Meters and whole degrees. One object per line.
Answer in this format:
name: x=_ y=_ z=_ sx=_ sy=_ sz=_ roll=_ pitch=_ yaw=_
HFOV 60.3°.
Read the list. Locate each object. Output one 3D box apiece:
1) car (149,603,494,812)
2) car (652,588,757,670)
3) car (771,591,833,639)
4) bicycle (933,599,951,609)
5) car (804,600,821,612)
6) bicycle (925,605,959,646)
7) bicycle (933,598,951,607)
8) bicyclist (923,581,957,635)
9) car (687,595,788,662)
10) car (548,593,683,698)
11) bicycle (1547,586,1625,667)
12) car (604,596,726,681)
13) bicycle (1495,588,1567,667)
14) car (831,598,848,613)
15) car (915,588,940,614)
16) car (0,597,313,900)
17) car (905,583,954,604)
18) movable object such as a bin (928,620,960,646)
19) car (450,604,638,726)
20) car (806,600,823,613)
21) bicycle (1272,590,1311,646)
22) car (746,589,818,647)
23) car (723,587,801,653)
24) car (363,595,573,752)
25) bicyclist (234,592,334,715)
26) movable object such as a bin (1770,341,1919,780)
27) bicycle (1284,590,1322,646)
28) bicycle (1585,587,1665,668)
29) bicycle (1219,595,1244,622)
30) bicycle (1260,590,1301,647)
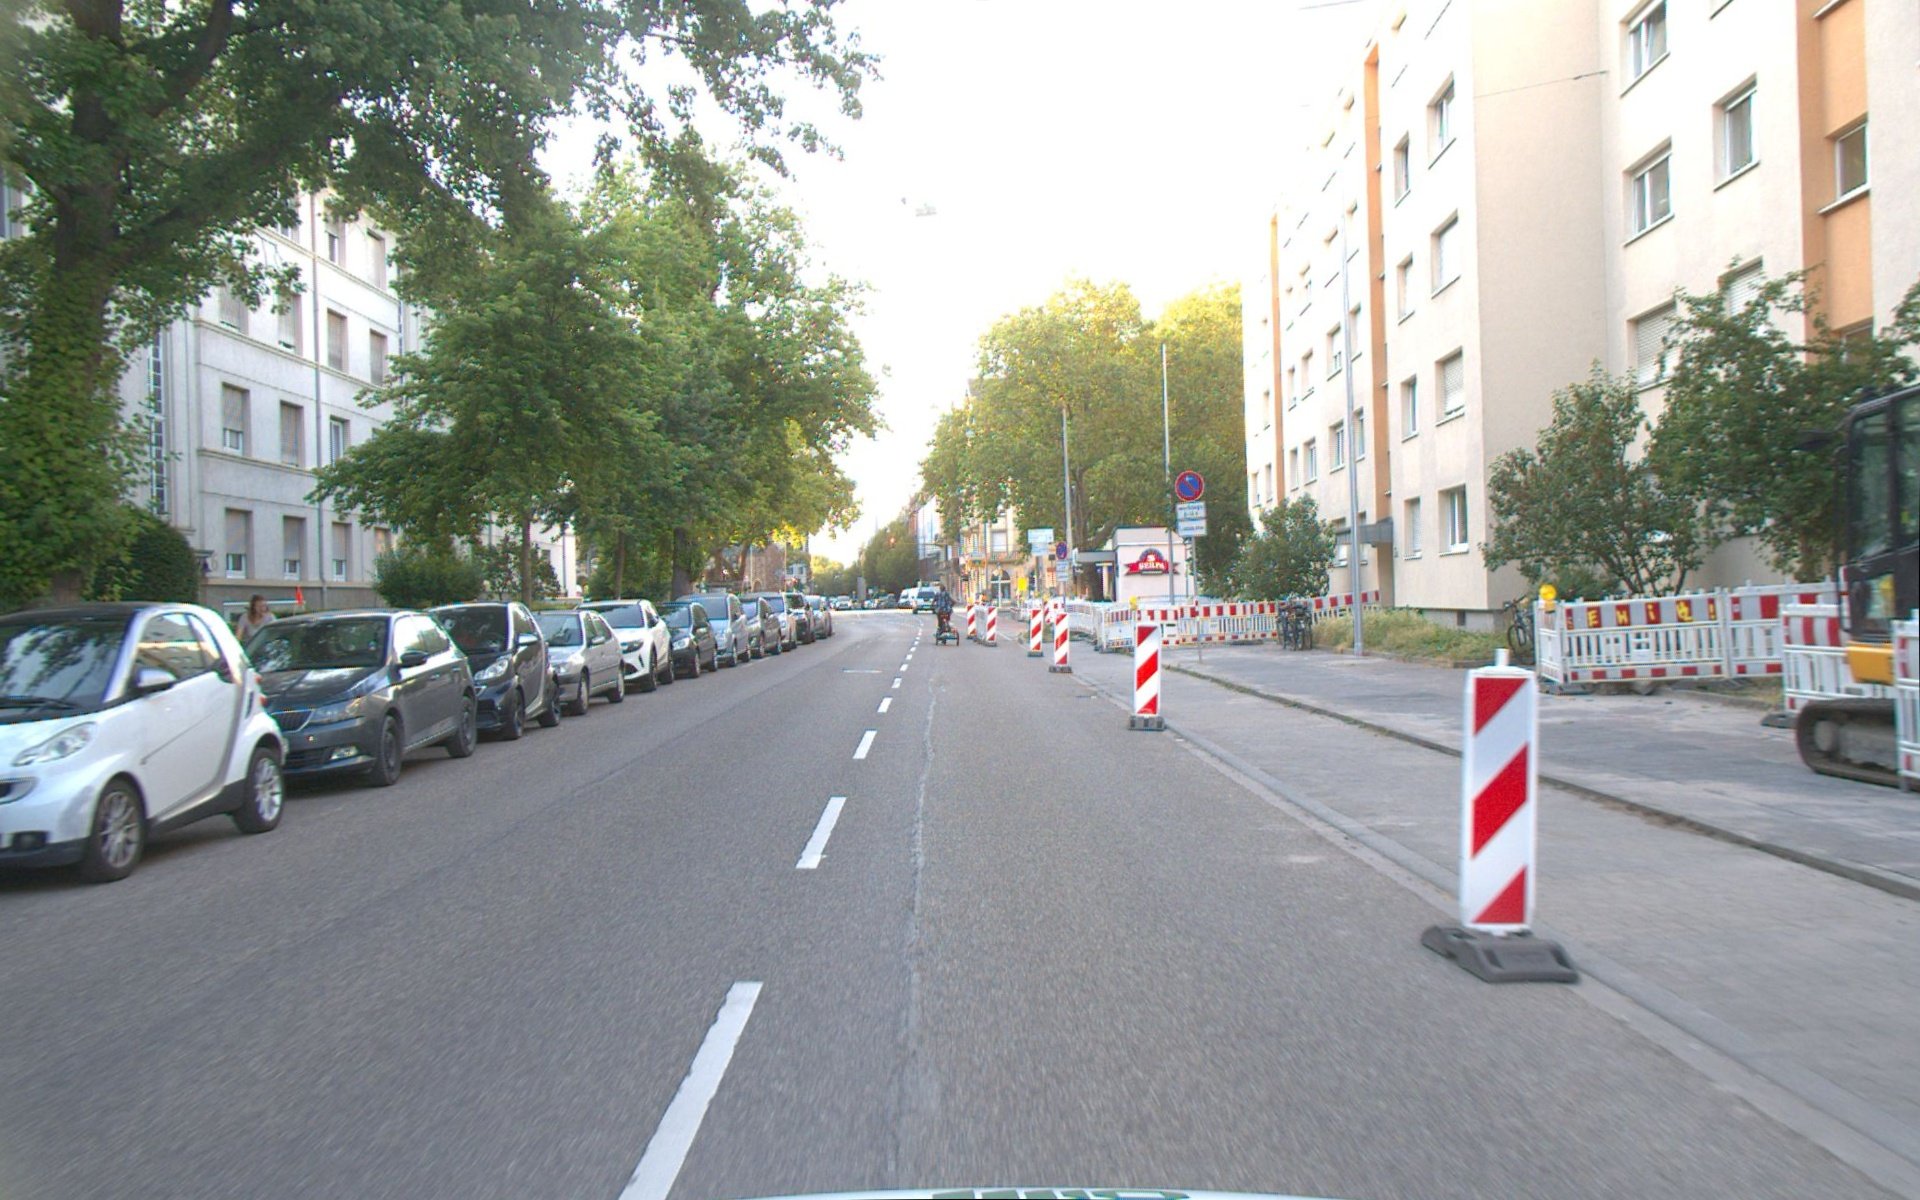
car: x=-5.514 y=0.831 z=14.847 sx=1.559 sy=1.491 sz=4.100 roll=-5 pitch=0 yaw=-3
car: x=-5.719 y=0.623 z=37.485 sx=1.673 sy=1.628 sz=4.116 roll=-4 pitch=0 yaw=-1
car: x=-5.967 y=0.539 z=62.841 sx=1.914 sy=1.645 sz=4.604 roll=-3 pitch=0 yaw=-1
bicycle: x=-1.980 y=0.423 z=182.975 sx=1.876 sy=0.985 sz=0.545 roll=-1 pitch=0 yaw=-3
car: x=-19.883 y=0.833 z=222.838 sx=1.956 sy=1.680 sz=3.813 roll=0 pitch=0 yaw=-9
bicycle: x=-0.586 y=0.781 z=52.044 sx=0.920 sy=1.192 sz=2.357 roll=-4 pitch=0 yaw=-3
bicycle: x=-2.004 y=0.305 z=182.695 sx=1.876 sy=0.985 sz=0.545 roll=-1 pitch=0 yaw=-3
bicyclist: x=-0.623 y=0.249 z=52.068 sx=0.920 sy=1.609 sz=1.145 roll=-4 pitch=0 yaw=-3
car: x=-5.625 y=0.686 z=42.292 sx=1.696 sy=1.523 sz=4.272 roll=-3 pitch=0 yaw=3
car: x=-5.889 y=0.739 z=28.670 sx=1.559 sy=1.565 sz=4.204 roll=-4 pitch=0 yaw=-3
bicycle: x=9.691 y=0.394 z=25.659 sx=0.544 sy=1.192 sz=1.817 roll=-1 pitch=0 yaw=2
car: x=-5.823 y=0.725 z=33.066 sx=1.673 sy=1.477 sz=3.842 roll=-5 pitch=0 yaw=0
bicycle: x=8.974 y=0.413 z=26.043 sx=0.544 sy=1.192 sz=1.817 roll=-1 pitch=0 yaw=2
car: x=-14.091 y=0.620 z=193.458 sx=1.748 sy=1.680 sz=3.813 roll=0 pitch=0 yaw=-9
car: x=-2.510 y=0.062 z=126.994 sx=1.829 sy=1.846 sz=3.998 roll=-2 pitch=0 yaw=-2
car: x=-5.408 y=0.824 z=10.158 sx=1.557 sy=1.555 sz=2.922 roll=-4 pitch=0 yaw=1
car: x=-3.521 y=-0.742 z=189.185 sx=5.779 sy=2.328 sz=2.039 roll=-2 pitch=0 yaw=-44
movable object such as a bin: x=-0.494 y=1.006 z=50.365 sx=0.920 sy=0.701 sz=0.993 roll=-4 pitch=0 yaw=-3
car: x=-5.761 y=0.841 z=23.383 sx=1.558 sy=1.428 sz=4.180 roll=-5 pitch=0 yaw=-1
car: x=-18.955 y=0.802 z=215.160 sx=1.956 sy=1.680 sz=3.813 roll=0 pitch=0 yaw=-9
bicycle: x=7.568 y=0.406 z=37.808 sx=0.390 sy=1.243 sz=1.910 roll=-1 pitch=0 yaw=-3
car: x=-5.867 y=0.564 z=55.003 sx=1.914 sy=1.748 sz=4.769 roll=-3 pitch=0 yaw=-2
car: x=-5.660 y=0.548 z=47.753 sx=1.810 sy=1.720 sz=4.856 roll=-3 pitch=0 yaw=-3
car: x=-5.610 y=0.781 z=19.208 sx=1.493 sy=1.555 sz=3.163 roll=-4 pitch=0 yaw=-2
bicyclist: x=-8.141 y=0.627 z=19.955 sx=0.792 sy=1.428 sz=0.973 roll=-1 pitch=0 yaw=-1
movable object such as a bin: x=6.989 y=-0.266 z=10.959 sx=1.893 sy=2.740 sz=2.893 roll=-1 pitch=0 yaw=4
bicycle: x=7.815 y=0.405 z=37.745 sx=0.390 sy=1.243 sz=1.825 roll=-1 pitch=0 yaw=-3
bicycle: x=10.280 y=0.409 z=25.619 sx=0.544 sy=1.192 sz=1.817 roll=-1 pitch=0 yaw=2
bicycle: x=10.341 y=0.319 z=62.883 sx=0.533 sy=0.985 sz=1.814 roll=-1 pitch=0 yaw=22
bicycle: x=7.300 y=0.406 z=37.712 sx=0.442 sy=1.243 sz=1.910 roll=-1 pitch=0 yaw=-3
